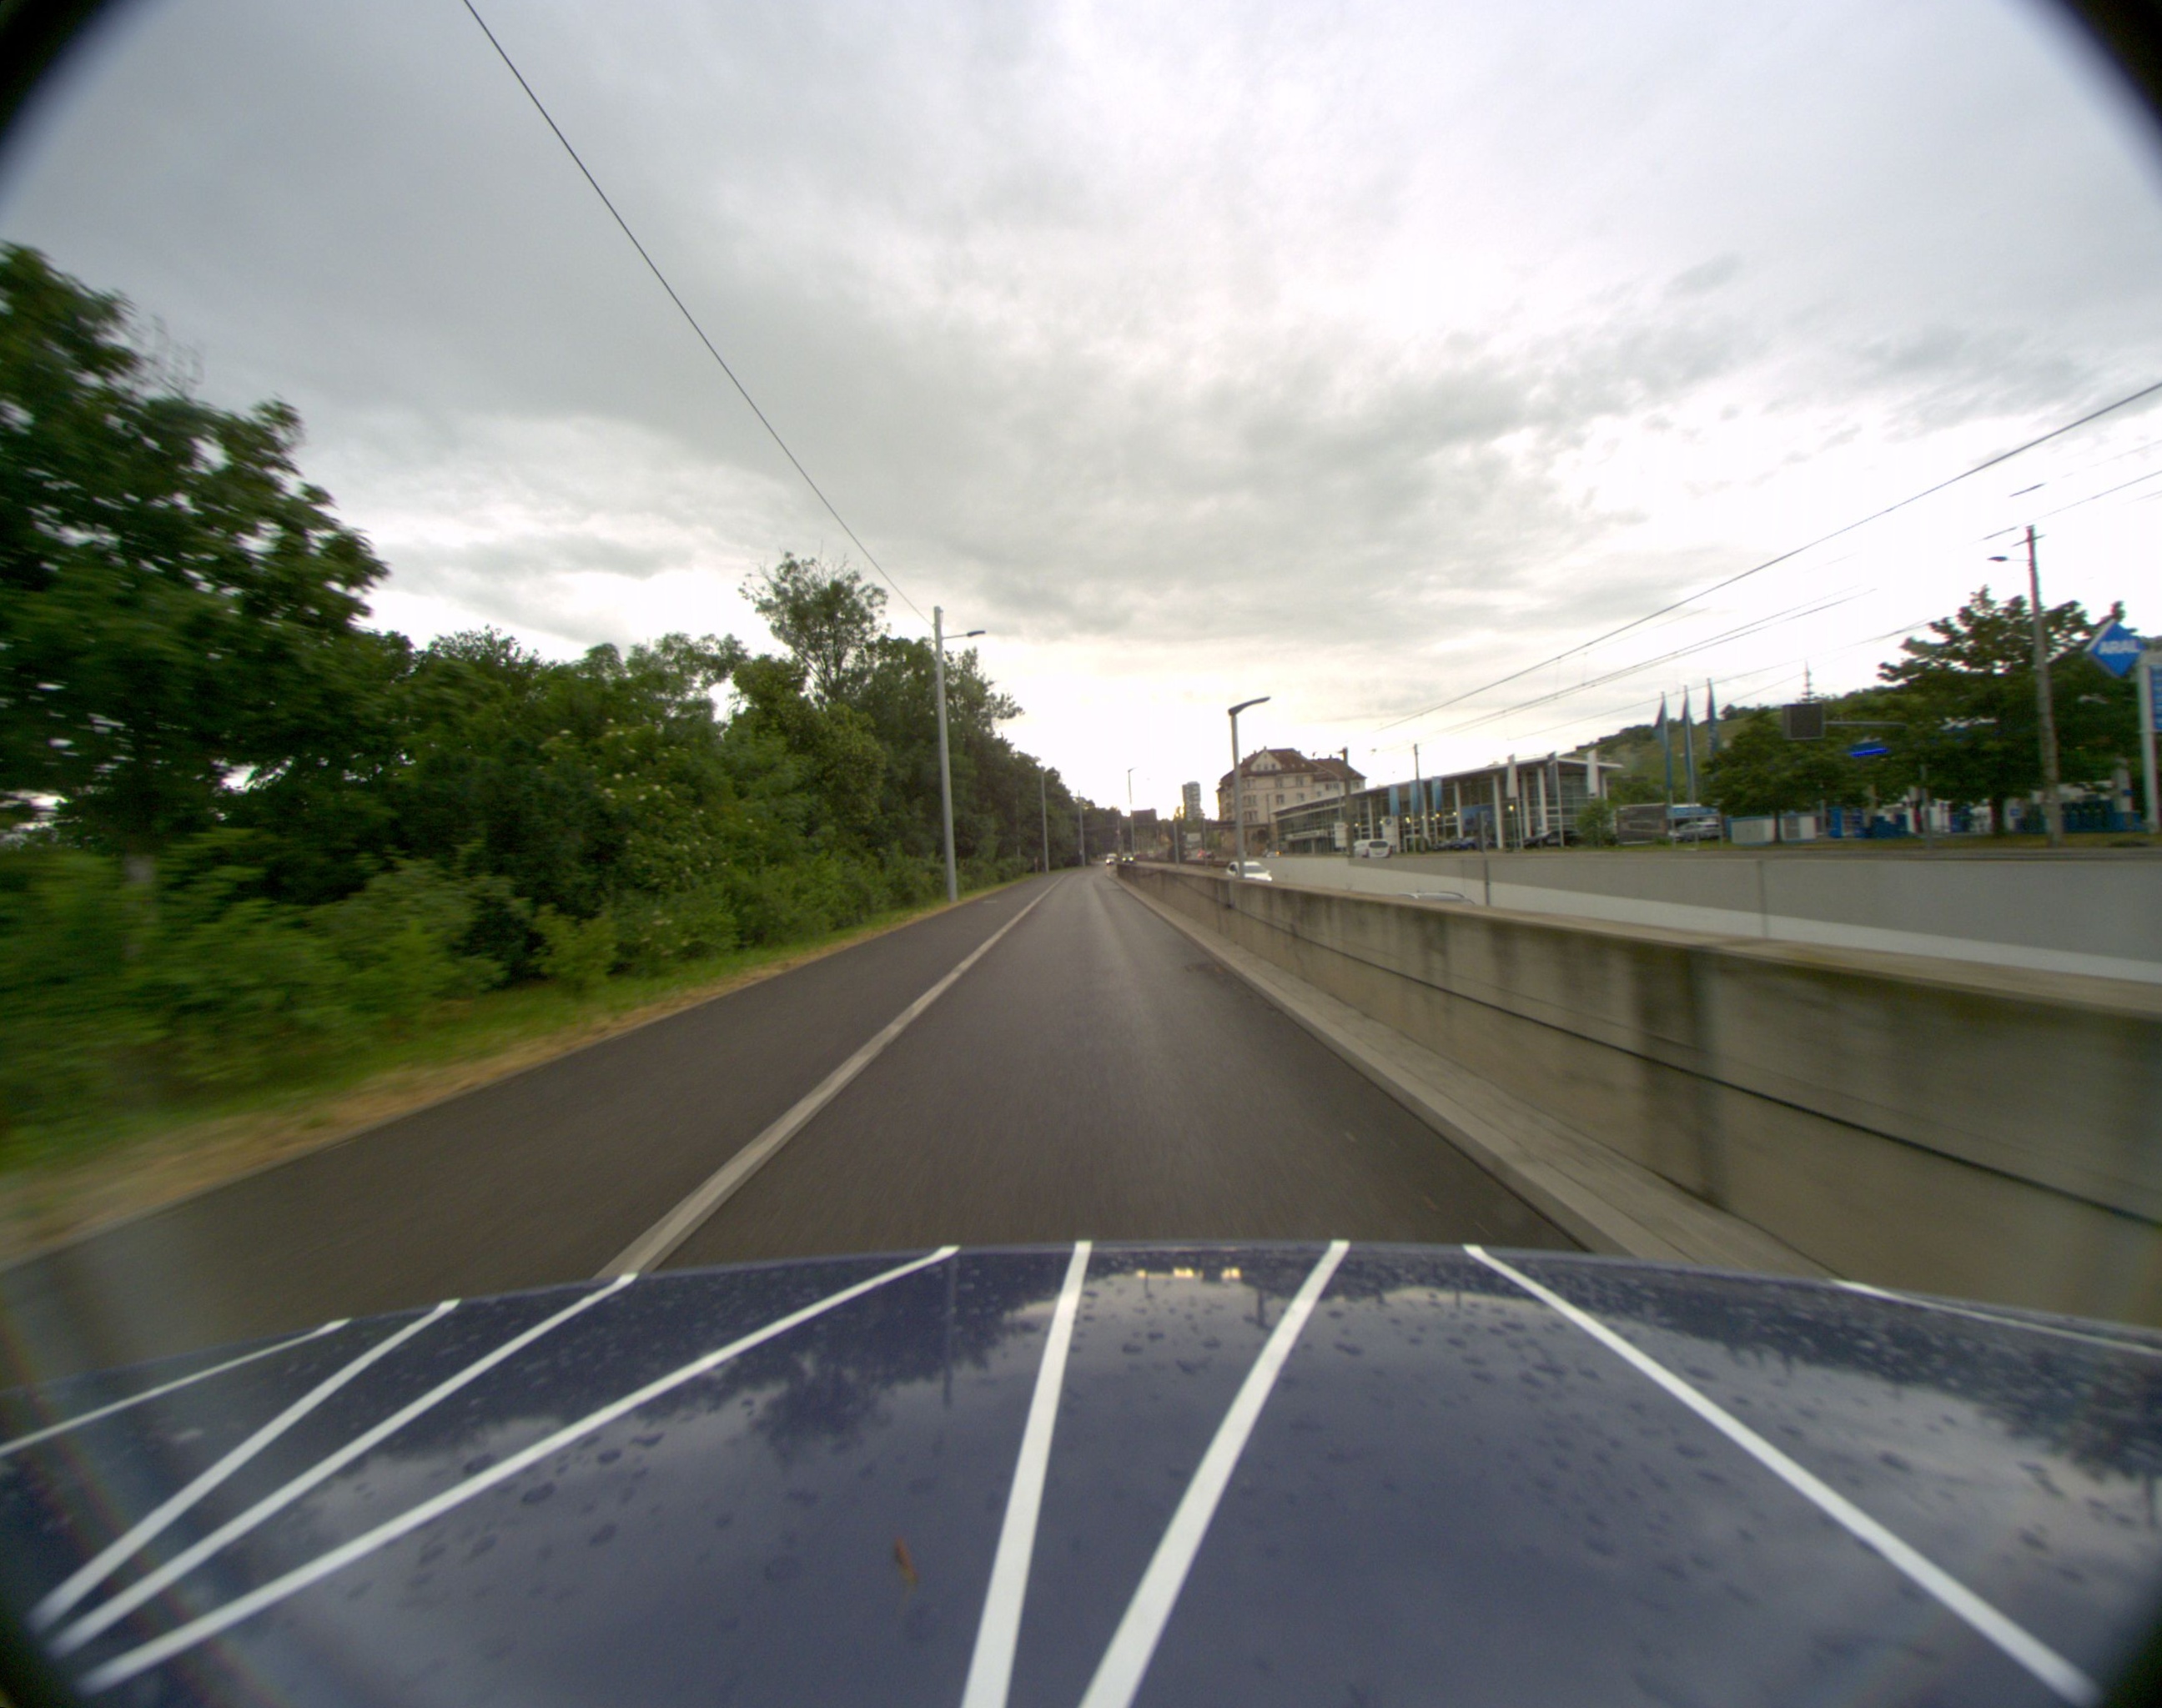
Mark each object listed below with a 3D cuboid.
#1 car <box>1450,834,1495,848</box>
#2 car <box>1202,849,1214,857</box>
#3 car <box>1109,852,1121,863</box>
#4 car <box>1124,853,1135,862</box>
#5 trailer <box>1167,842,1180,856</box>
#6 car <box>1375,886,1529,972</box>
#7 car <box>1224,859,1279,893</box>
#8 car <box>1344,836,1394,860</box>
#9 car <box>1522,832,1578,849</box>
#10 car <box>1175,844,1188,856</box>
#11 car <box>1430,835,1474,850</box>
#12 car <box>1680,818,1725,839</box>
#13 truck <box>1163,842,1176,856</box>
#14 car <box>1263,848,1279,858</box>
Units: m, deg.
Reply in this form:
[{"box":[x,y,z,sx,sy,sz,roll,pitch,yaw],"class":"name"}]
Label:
[{"box":[38.986,-1.312,75.684,4.003,1.228,1.757,-3,1,-20],"class":"car"},{"box":[25.726,-0.225,153.870,1.746,1.506,4.340,-3,0,0],"class":"car"},{"box":[5.222,0.588,118.167,1.710,1.585,4.000,-3,0,1],"class":"car"},{"box":[8.940,0.605,140.243,1.710,1.521,4.000,-3,0,1],"class":"car"},{"box":[27.243,-1.483,224.707,2.690,4.028,9.082,-2,0,0],"class":"trailer"},{"box":[8.523,1.658,17.878,1.708,1.564,3.896,-2,0,1],"class":"car"},{"box":[9.028,1.129,40.555,1.982,1.564,4.319,-2,0,1],"class":"car"},{"box":[22.842,-0.464,60.510,2.006,1.685,5.034,-3,0,-1],"class":"car"},{"box":[39.352,-1.125,63.790,3.523,1.267,1.717,-3,0,4],"class":"car"},{"box":[23.119,-0.945,174.647,2.056,2.583,6.164,-3,0,0],"class":"car"},{"box":[38.198,-1.228,78.287,4.003,1.227,1.701,-3,-2,-20],"class":"car"},{"box":[51.725,-2.106,63.284,1.385,1.563,2.801,-3,0,-1],"class":"car"},{"box":[27.212,-1.507,234.251,2.690,4.028,10.142,-2,0,0],"class":"truck"},{"box":[26.399,-0.140,105.465,1.385,1.292,2.801,-3,0,-1],"class":"car"}]
